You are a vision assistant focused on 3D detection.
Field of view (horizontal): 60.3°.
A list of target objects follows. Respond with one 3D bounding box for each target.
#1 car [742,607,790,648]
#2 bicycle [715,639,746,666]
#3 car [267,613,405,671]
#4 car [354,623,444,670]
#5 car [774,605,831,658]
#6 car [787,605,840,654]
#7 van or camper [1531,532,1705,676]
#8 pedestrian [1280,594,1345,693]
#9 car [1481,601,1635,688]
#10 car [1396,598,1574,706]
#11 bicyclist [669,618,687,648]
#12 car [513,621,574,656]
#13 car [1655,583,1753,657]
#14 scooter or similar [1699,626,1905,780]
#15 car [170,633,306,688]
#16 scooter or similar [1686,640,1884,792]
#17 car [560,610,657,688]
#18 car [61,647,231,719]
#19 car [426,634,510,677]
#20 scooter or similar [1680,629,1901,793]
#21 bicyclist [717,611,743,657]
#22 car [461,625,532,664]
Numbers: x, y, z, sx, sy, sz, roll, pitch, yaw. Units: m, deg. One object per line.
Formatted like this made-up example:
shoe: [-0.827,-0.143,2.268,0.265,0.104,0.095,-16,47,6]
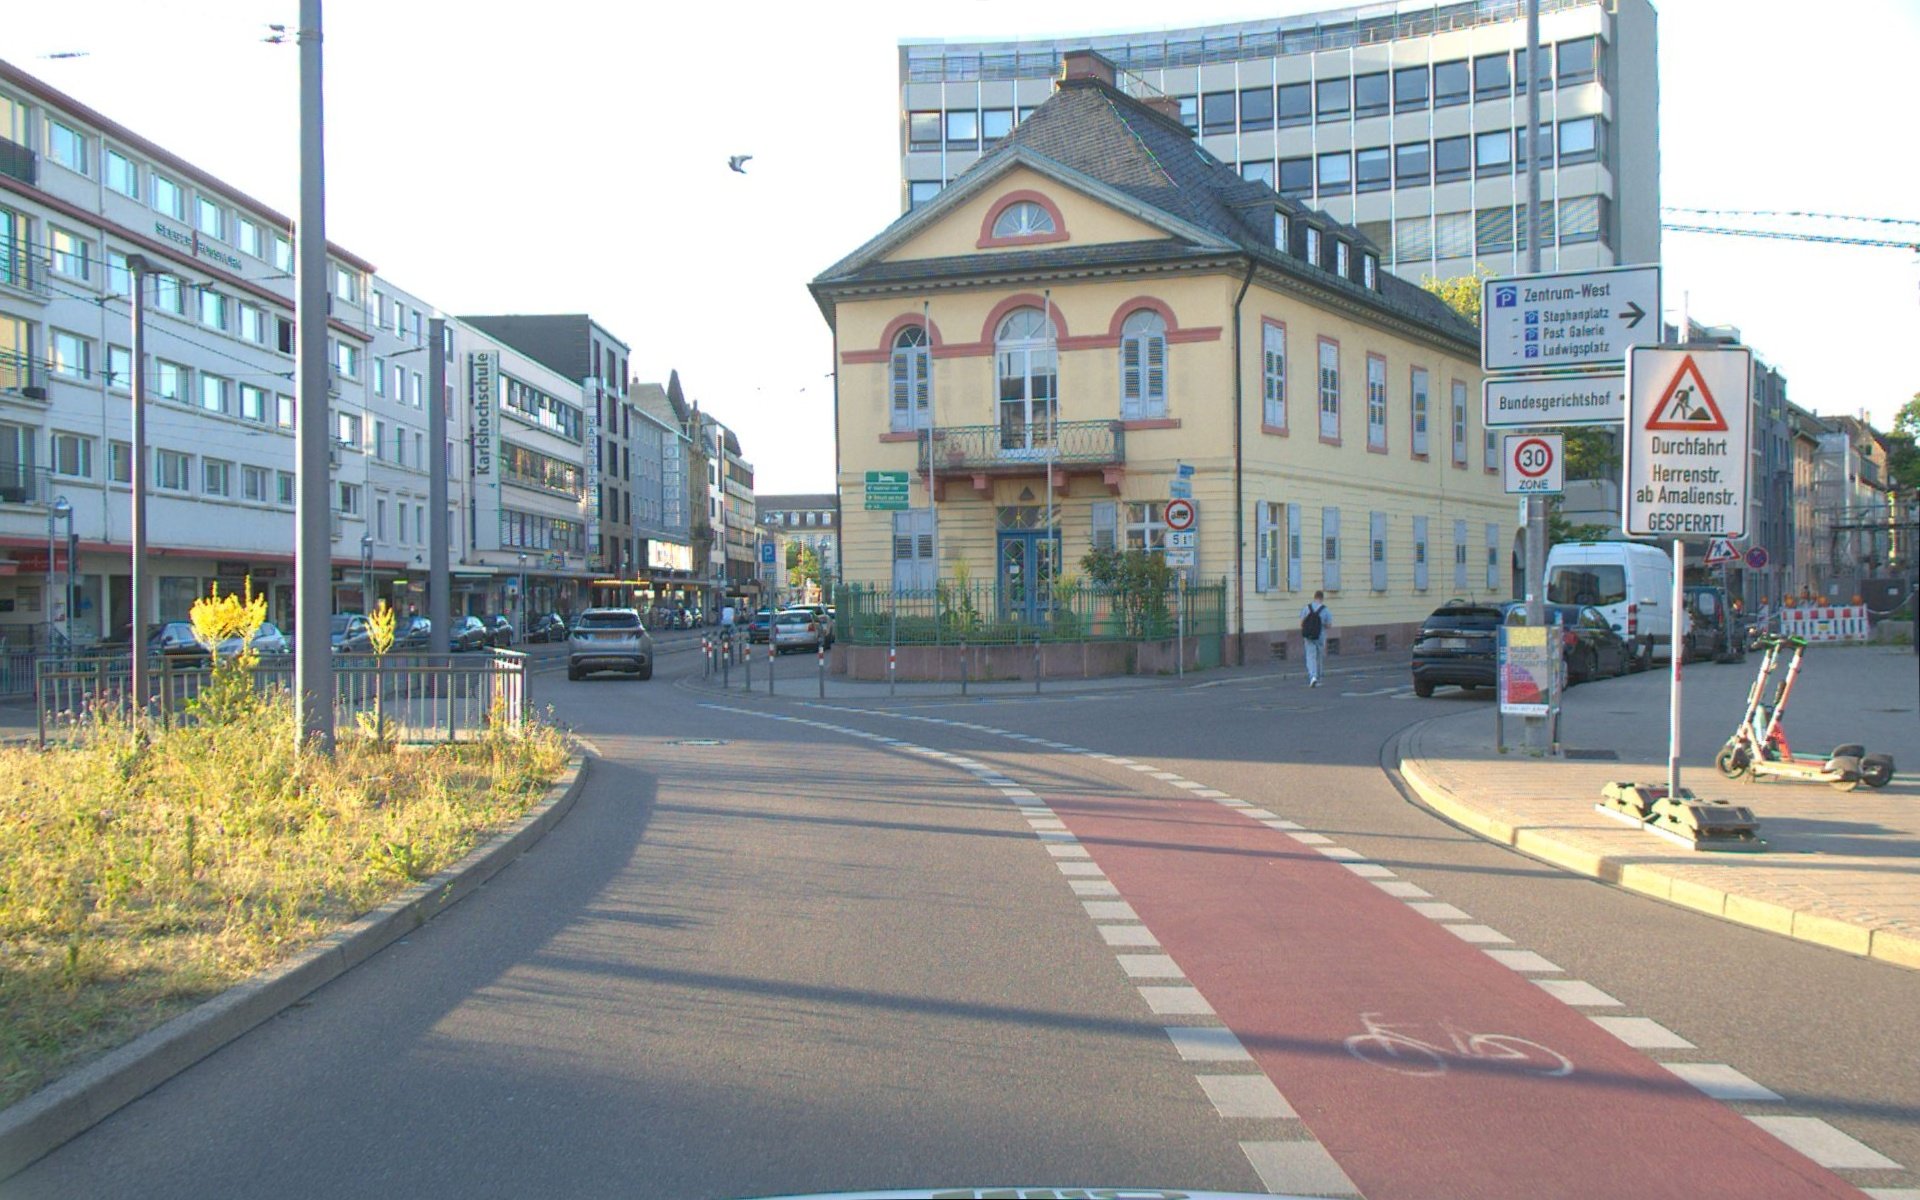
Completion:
car: [-8.955,1.254,76.534,1.771,1.840,3.999,-1,0,-1]
bicycle: [-8.114,1.840,58.641,0.812,0.885,2.548,-1,0,-2]
car: [-18.193,1.198,48.450,2.151,1.586,4.282,-1,0,4]
car: [-21.755,1.788,64.284,1.952,1.695,4.002,-1,0,3]
car: [-5.383,1.070,56.830,1.697,1.738,3.438,-1,-1,-2]
car: [-5.464,1.070,62.028,1.697,1.738,3.804,-1,0,-2]
van or camper: [14.334,0.074,35.762,2.042,2.823,6.427,-1,0,35]
pedestrian: [6.380,0.773,29.931,0.862,1.754,0.826,0,0,38]
car: [11.201,0.775,30.794,1.698,1.454,4.460,-1,0,34]
car: [8.601,0.788,26.880,1.746,1.570,4.280,-1,0,32]
bicyclist: [-19.731,2.321,115.726,1.143,2.049,1.045,-1,0,-3]
car: [-21.462,1.979,85.349,1.952,1.695,4.002,-1,0,3]
car: [19.896,0.506,44.165,1.683,1.881,4.009,-1,0,35]
scooter or similar: [7.421,0.880,14.608,1.499,1.282,0.608,-2,-1,42]
car: [-21.742,1.803,50.010,1.952,1.490,4.403,-1,0,3]
scooter or similar: [6.821,0.931,13.711,1.379,1.186,0.458,-1,0,42]
car: [-8.251,1.100,39.188,1.907,1.690,4.527,-1,0,-8]
car: [-21.704,2.175,44.355,1.952,1.695,4.842,-1,0,3]
car: [-20.879,2.327,70.427,1.952,1.695,4.640,0,0,3]
scooter or similar: [7.081,0.912,14.154,1.623,1.315,0.458,-1,0,42]
bicyclist: [-8.160,1.196,58.781,0.812,1.596,0.787,-1,-1,-2]
car: [-21.409,2.050,76.521,1.952,1.695,4.001,-1,-1,3]
